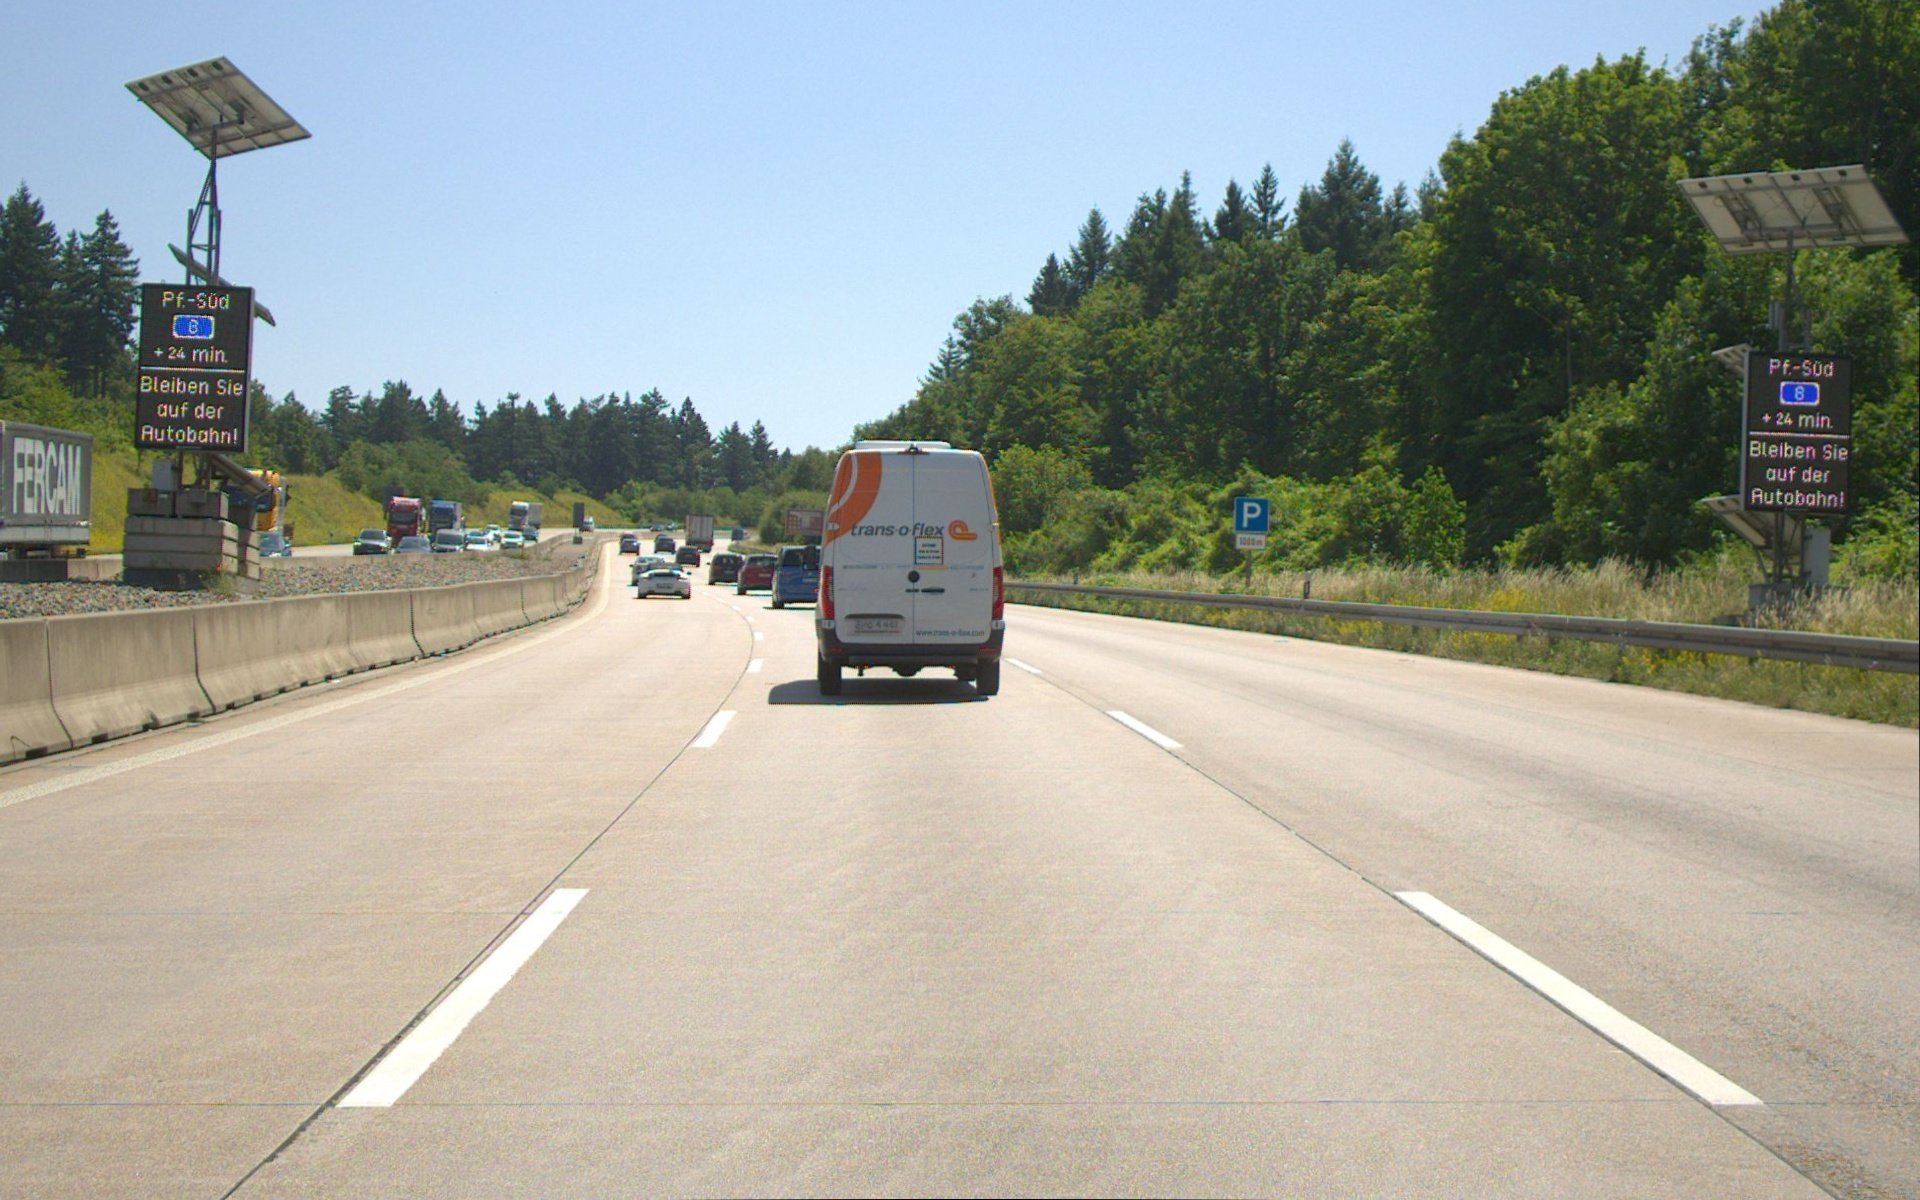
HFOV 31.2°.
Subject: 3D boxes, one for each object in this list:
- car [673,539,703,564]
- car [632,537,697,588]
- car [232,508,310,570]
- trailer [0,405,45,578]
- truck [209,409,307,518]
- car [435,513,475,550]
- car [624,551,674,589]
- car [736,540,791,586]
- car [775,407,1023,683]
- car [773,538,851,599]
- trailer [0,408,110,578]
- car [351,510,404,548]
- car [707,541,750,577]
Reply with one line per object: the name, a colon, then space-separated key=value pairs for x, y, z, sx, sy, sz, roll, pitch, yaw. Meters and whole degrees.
car: x=-20.081 y=-3.580 z=254.067 sx=1.993 sy=1.678 sz=4.000 roll=3 pitch=0 yaw=-2
car: x=-10.409 y=-1.326 z=121.281 sx=1.993 sy=1.678 sz=4.000 roll=3 pitch=0 yaw=-2
car: x=-23.020 y=-2.039 z=114.927 sx=1.993 sy=2.007 sz=4.001 roll=0 pitch=1 yaw=-3
trailer: x=-24.657 y=-2.684 z=84.256 sx=2.933 sy=4.154 sz=6.892 roll=3 pitch=0 yaw=-4
truck: x=-30.959 y=-5.949 z=152.048 sx=2.913 sy=4.498 sz=11.261 roll=1 pitch=1 yaw=-5
car: x=-28.008 y=-3.794 z=190.769 sx=1.993 sy=2.007 sz=4.461 roll=0 pitch=1 yaw=-6
car: x=-14.543 y=-1.411 z=160.871 sx=1.993 sy=1.678 sz=4.000 roll=3 pitch=0 yaw=-2
car: x=-7.769 y=-1.464 z=136.268 sx=1.993 sy=1.678 sz=4.000 roll=3 pitch=0 yaw=-2
car: x=-0.776 y=-0.636 z=38.442 sx=2.226 sy=2.834 sz=5.455 roll=1 pitch=1 yaw=-6
car: x=-4.442 y=-0.951 z=102.687 sx=1.993 sy=1.678 sz=4.001 roll=3 pitch=0 yaw=-7
trailer: x=-25.180 y=-2.768 z=90.951 sx=2.933 sy=4.154 sz=13.192 roll=3 pitch=0 yaw=-4
car: x=-31.310 y=-3.794 z=184.777 sx=2.283 sy=2.007 sz=4.804 roll=0 pitch=1 yaw=-3
car: x=-11.746 y=-2.081 z=174.495 sx=1.993 sy=1.678 sz=4.000 roll=3 pitch=0 yaw=-2
